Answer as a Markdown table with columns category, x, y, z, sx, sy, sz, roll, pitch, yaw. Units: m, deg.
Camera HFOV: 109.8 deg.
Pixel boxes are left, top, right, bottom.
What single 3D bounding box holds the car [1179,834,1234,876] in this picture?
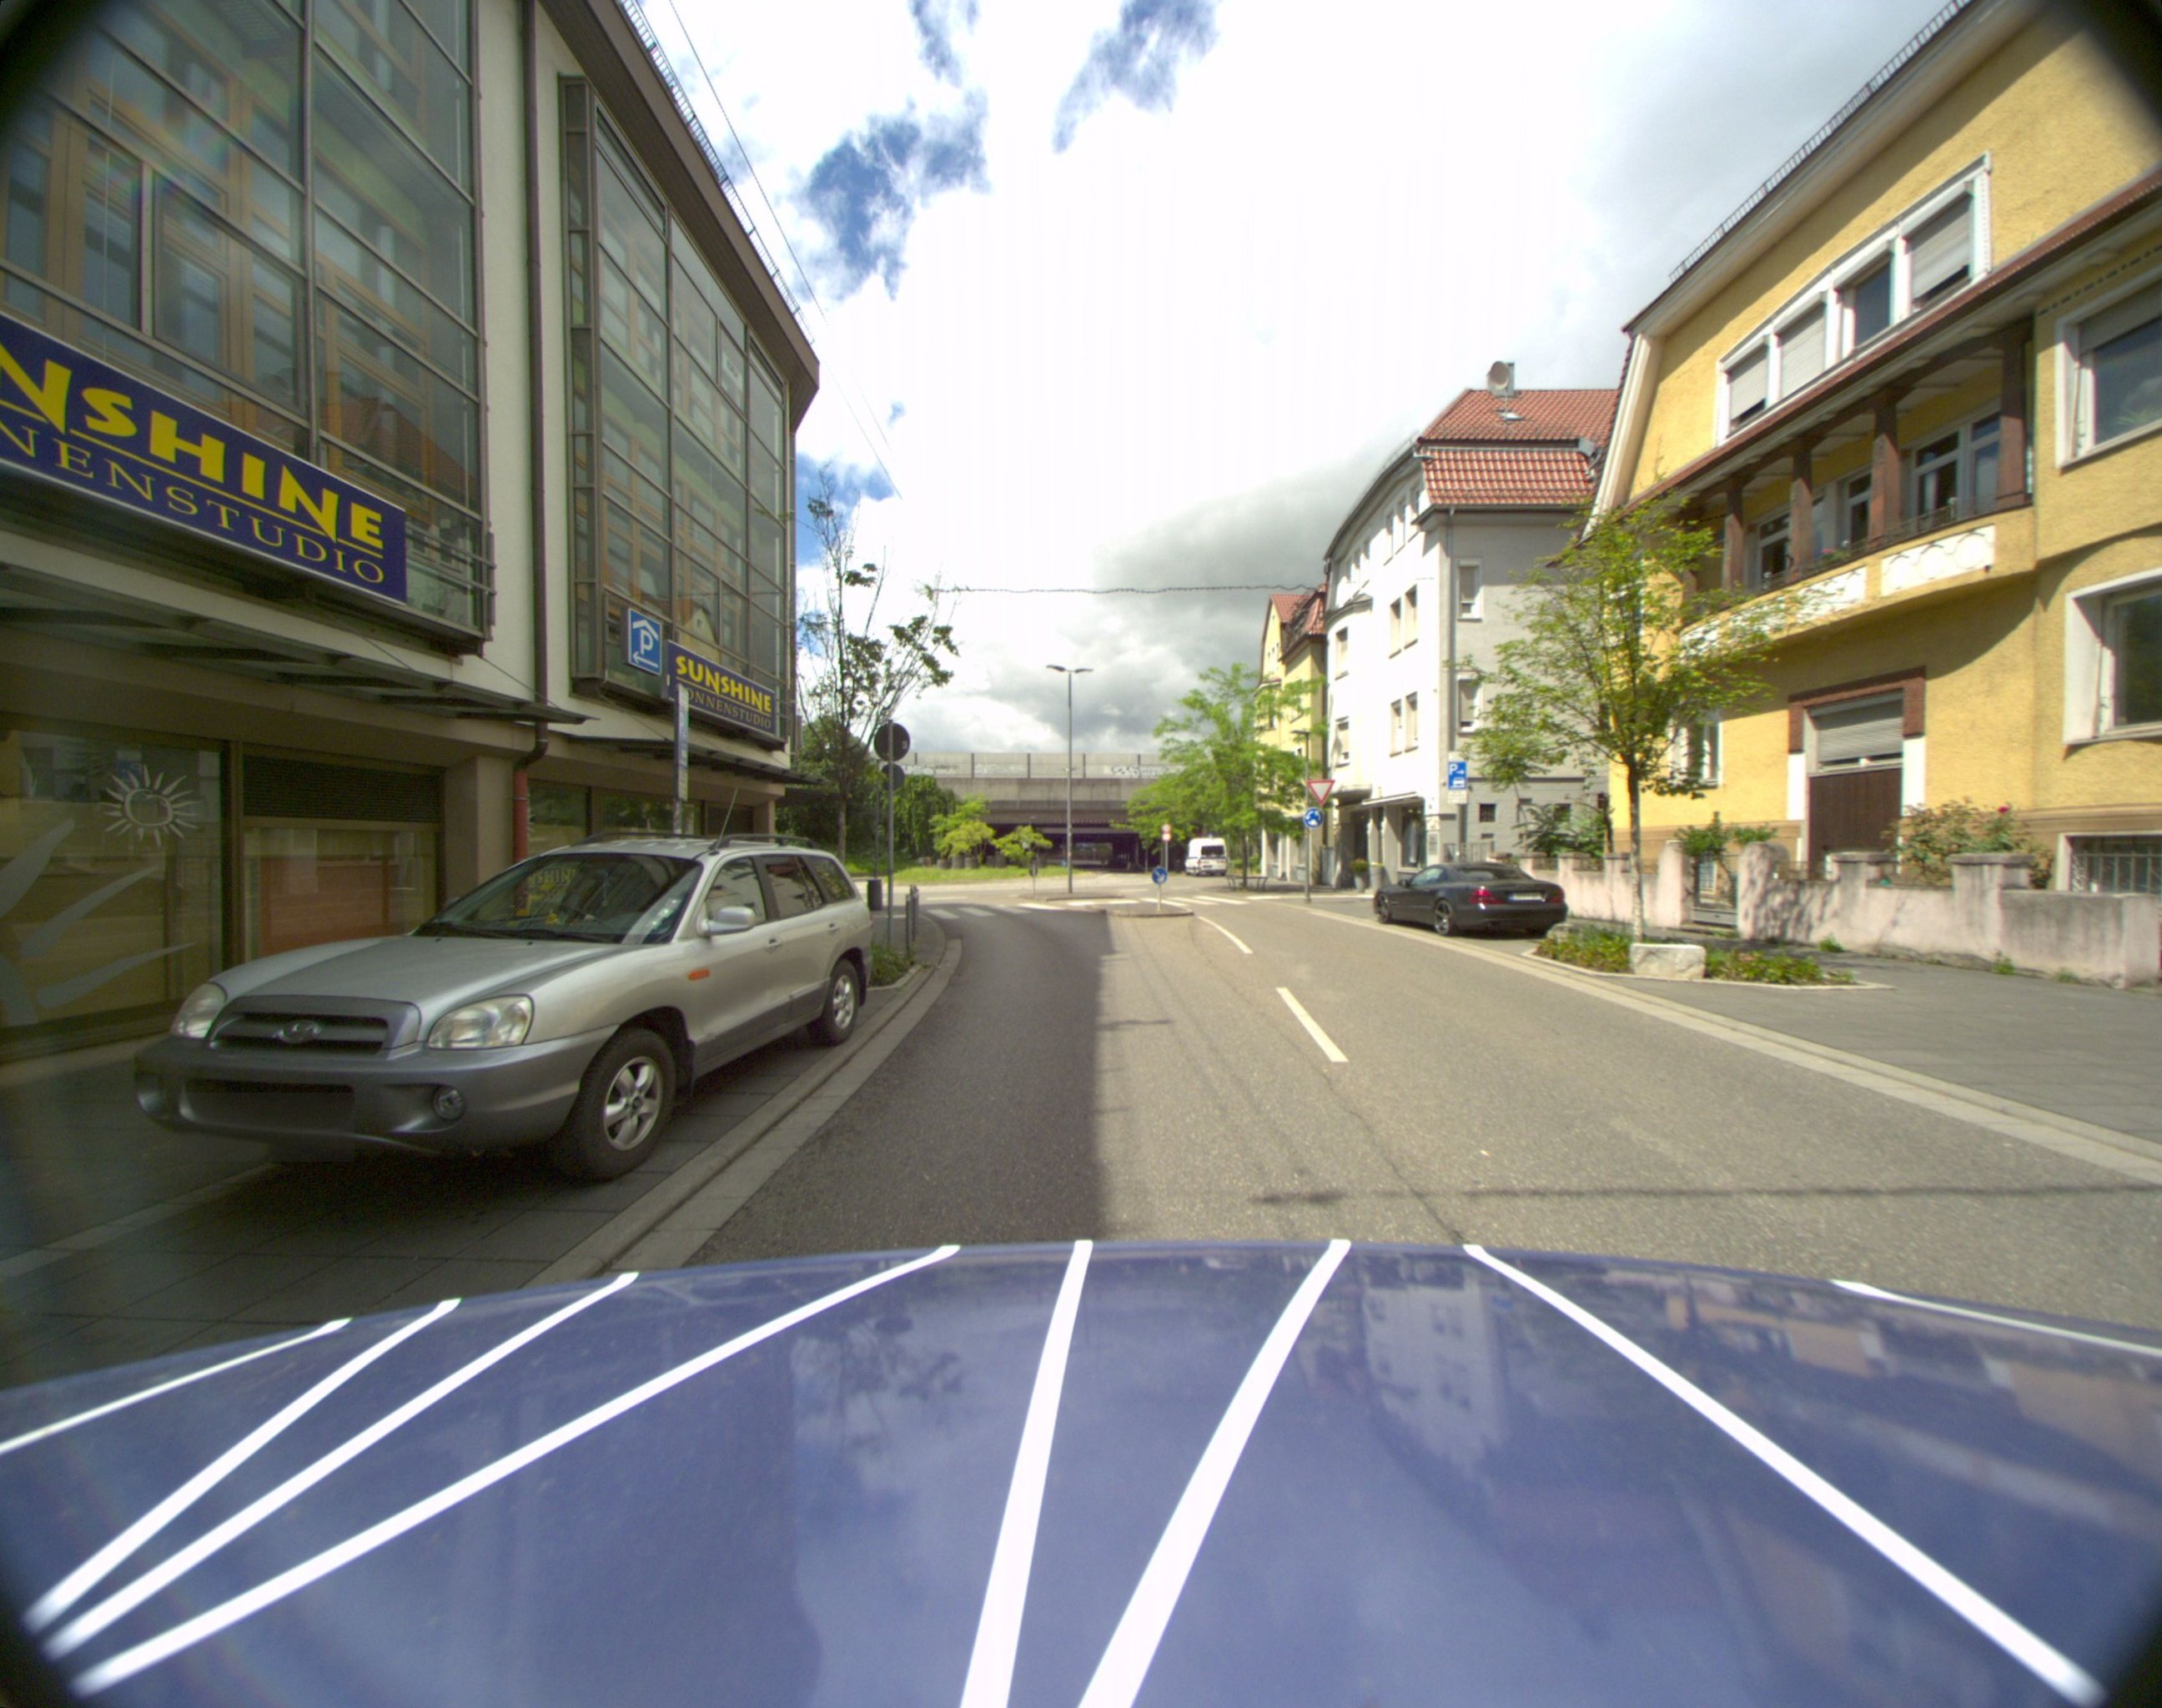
| category | x | y | z | sx | sy | sz | roll | pitch | yaw |
| --- | --- | --- | --- | --- | --- | --- | --- | --- | --- |
| car | 8.591 | 0.024 | 52.643 | 2.309 | 2.657 | 7.267 | -2 | 1 | -2 |

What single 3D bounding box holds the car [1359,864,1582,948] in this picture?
| category | x | y | z | sx | sy | sz | roll | pitch | yaw |
| --- | --- | --- | --- | --- | --- | --- | --- | --- | --- |
| car | 6.982 | 0.845 | 14.253 | 1.722 | 1.296 | 4.465 | -1 | -1 | -3 |

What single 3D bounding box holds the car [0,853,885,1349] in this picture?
| category | x | y | z | sx | sy | sz | roll | pitch | yaw |
| --- | --- | --- | --- | --- | --- | --- | --- | --- | --- |
| car | -2.959 | 0.844 | 4.899 | 1.824 | 1.652 | 4.468 | 1 | 0 | 6 |
